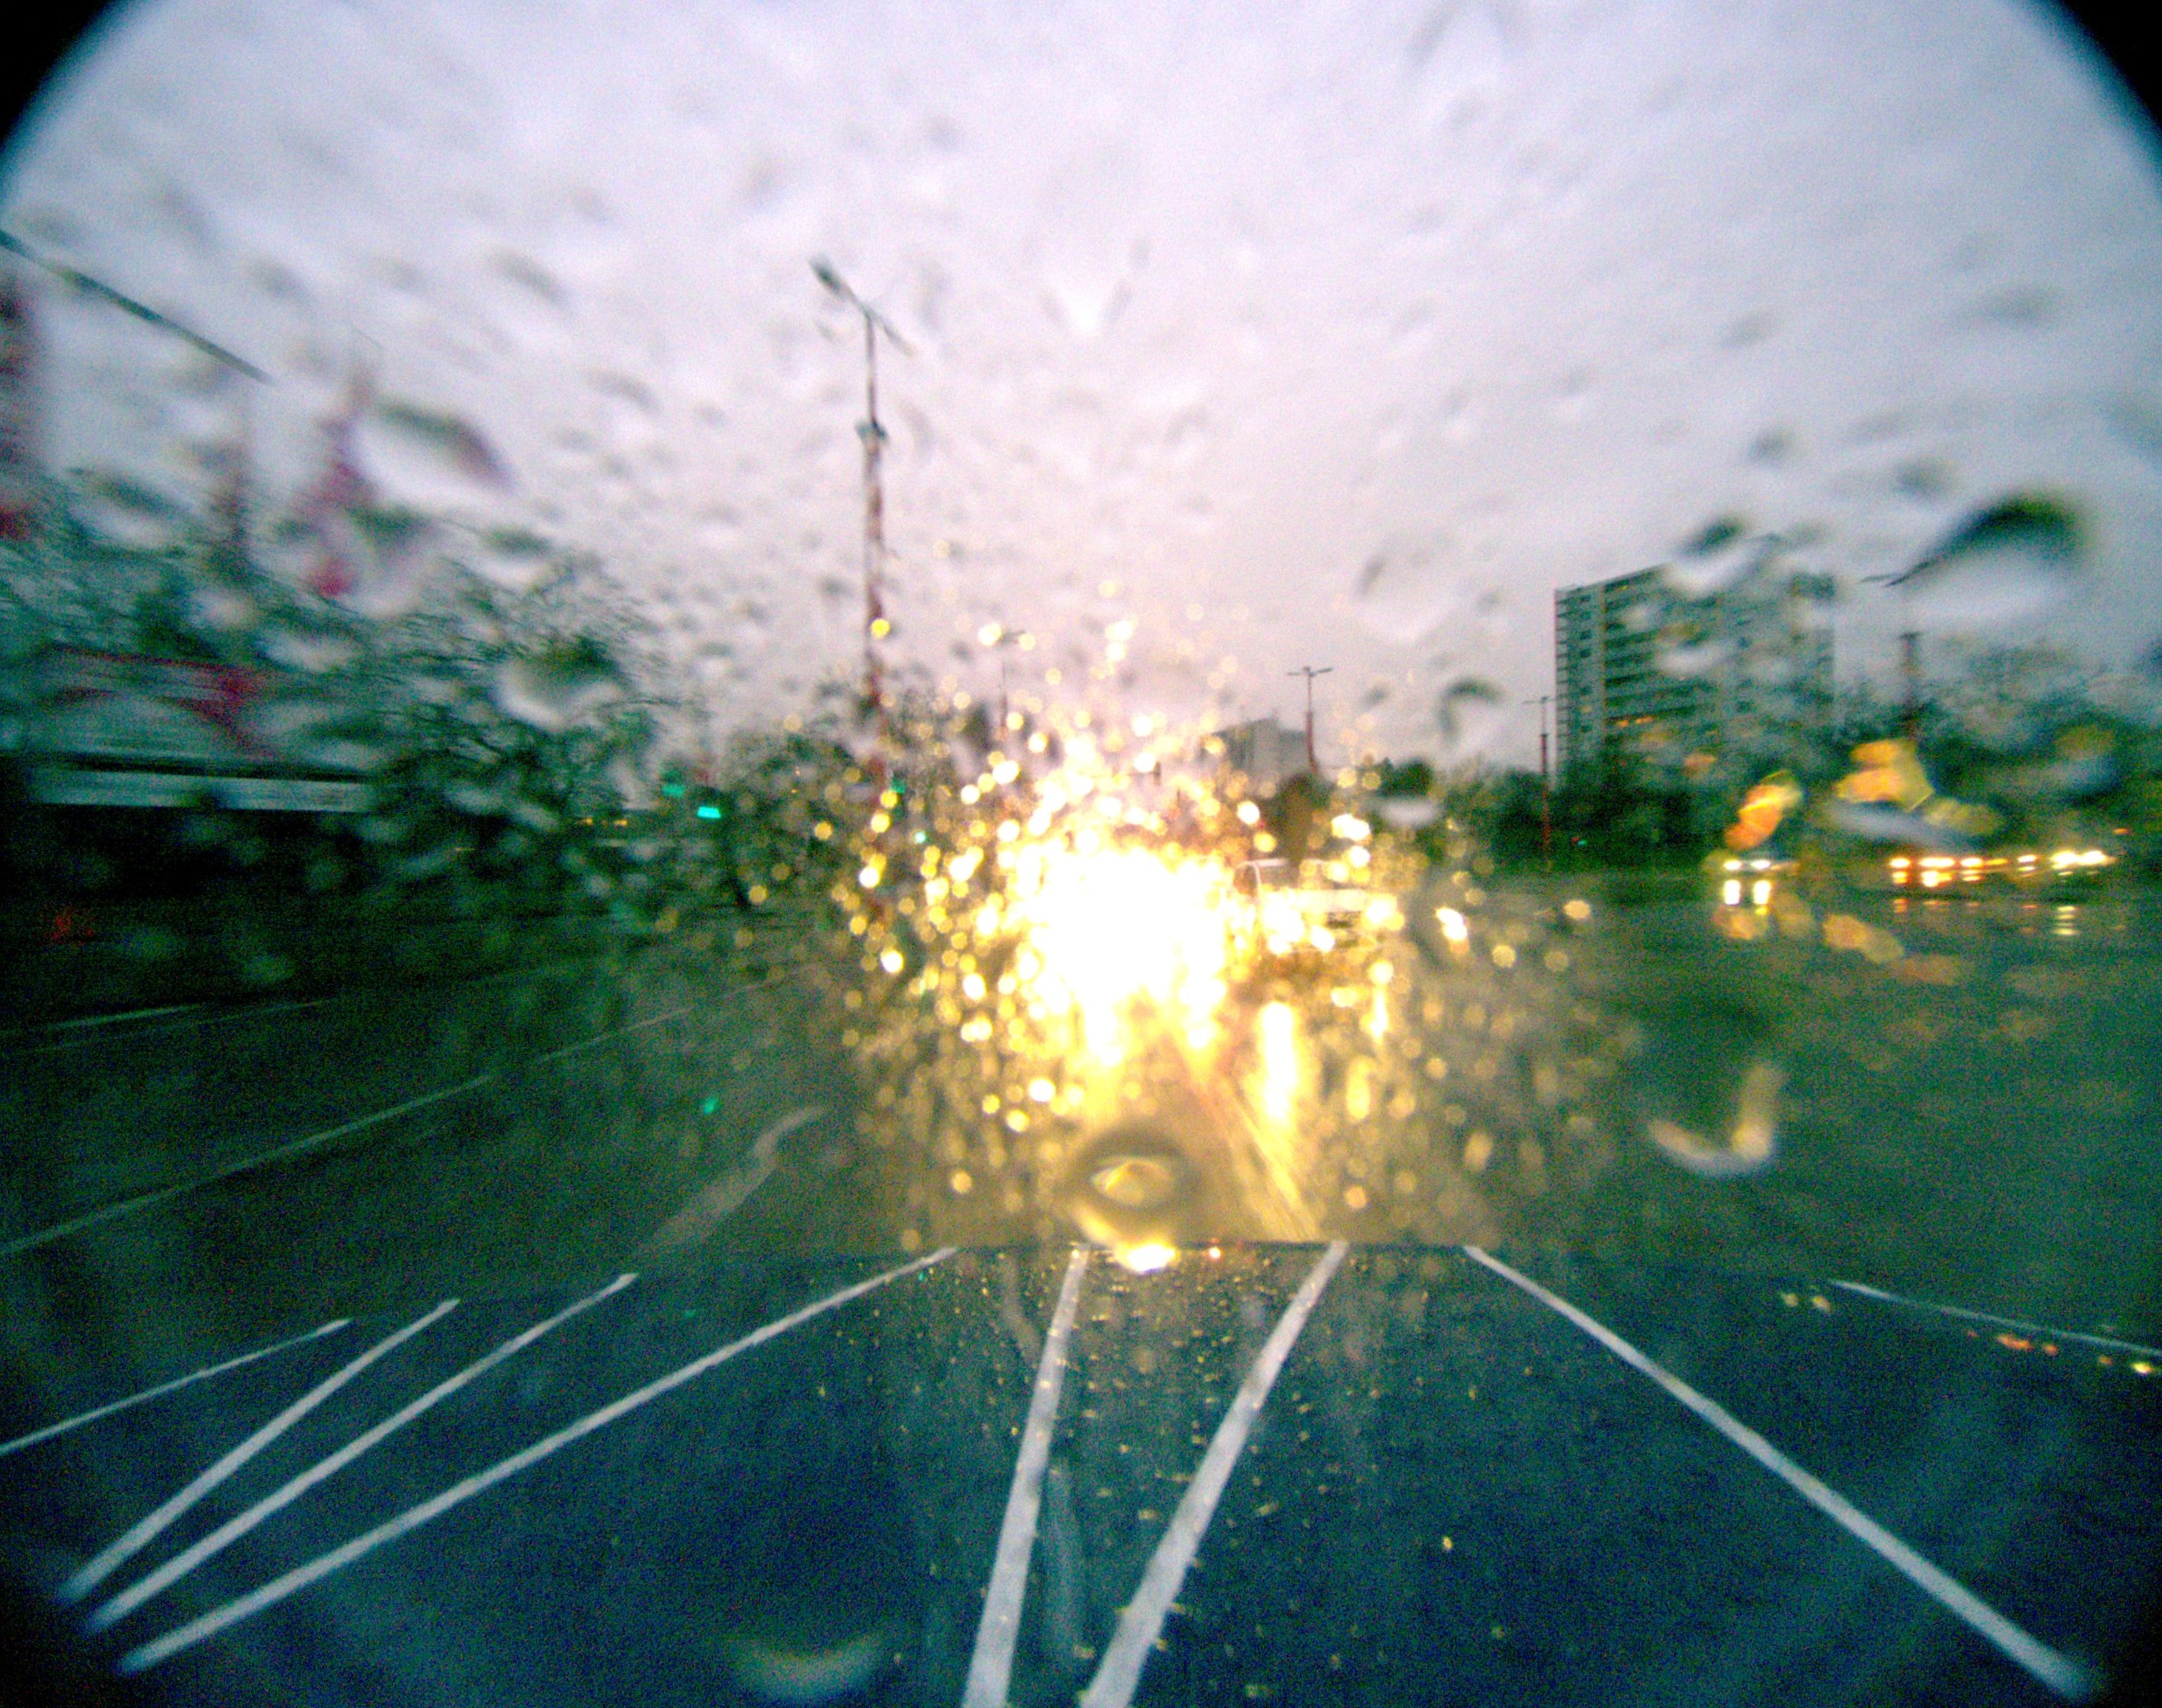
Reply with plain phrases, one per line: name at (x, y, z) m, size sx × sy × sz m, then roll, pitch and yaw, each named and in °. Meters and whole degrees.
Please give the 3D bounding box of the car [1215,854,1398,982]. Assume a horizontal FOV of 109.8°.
car at (3.326, 0.835, 12.037) m, size 1.718 × 1.638 × 4.147 m, roll -1°, pitch 0°, yaw 1°

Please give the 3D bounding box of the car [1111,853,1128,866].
car at (5.053, 0.723, 99.944) m, size 1.998 × 1.605 × 4.000 m, roll -2°, pitch 1°, yaw 1°

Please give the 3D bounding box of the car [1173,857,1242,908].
car at (4.308, 0.913, 26.472) m, size 1.694 × 1.530 × 4.190 m, roll -2°, pitch 0°, yaw 0°

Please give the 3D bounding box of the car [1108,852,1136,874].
car at (3.089, 0.678, 58.026) m, size 1.953 × 1.590 × 4.124 m, roll -1°, pitch 0°, yaw 0°

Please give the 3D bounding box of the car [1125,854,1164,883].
car at (3.677, 0.833, 44.908) m, size 1.953 × 1.590 × 4.124 m, roll -1°, pitch 0°, yaw 0°

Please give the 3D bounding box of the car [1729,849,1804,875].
car at (41.998, 0.462, 46.552) m, size 4.446 × 1.535 × 1.848 m, roll -1°, pitch 0°, yaw -26°

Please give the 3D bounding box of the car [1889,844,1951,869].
car at (55.752, 0.152, 50.481) m, size 4.005 × 1.535 × 1.709 m, roll -1°, pitch 0°, yaw -26°

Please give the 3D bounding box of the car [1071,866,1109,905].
car at (0.395, 1.435, 35.609) m, size 1.679 × 1.590 × 4.044 m, roll -1°, pitch 0°, yaw 0°
